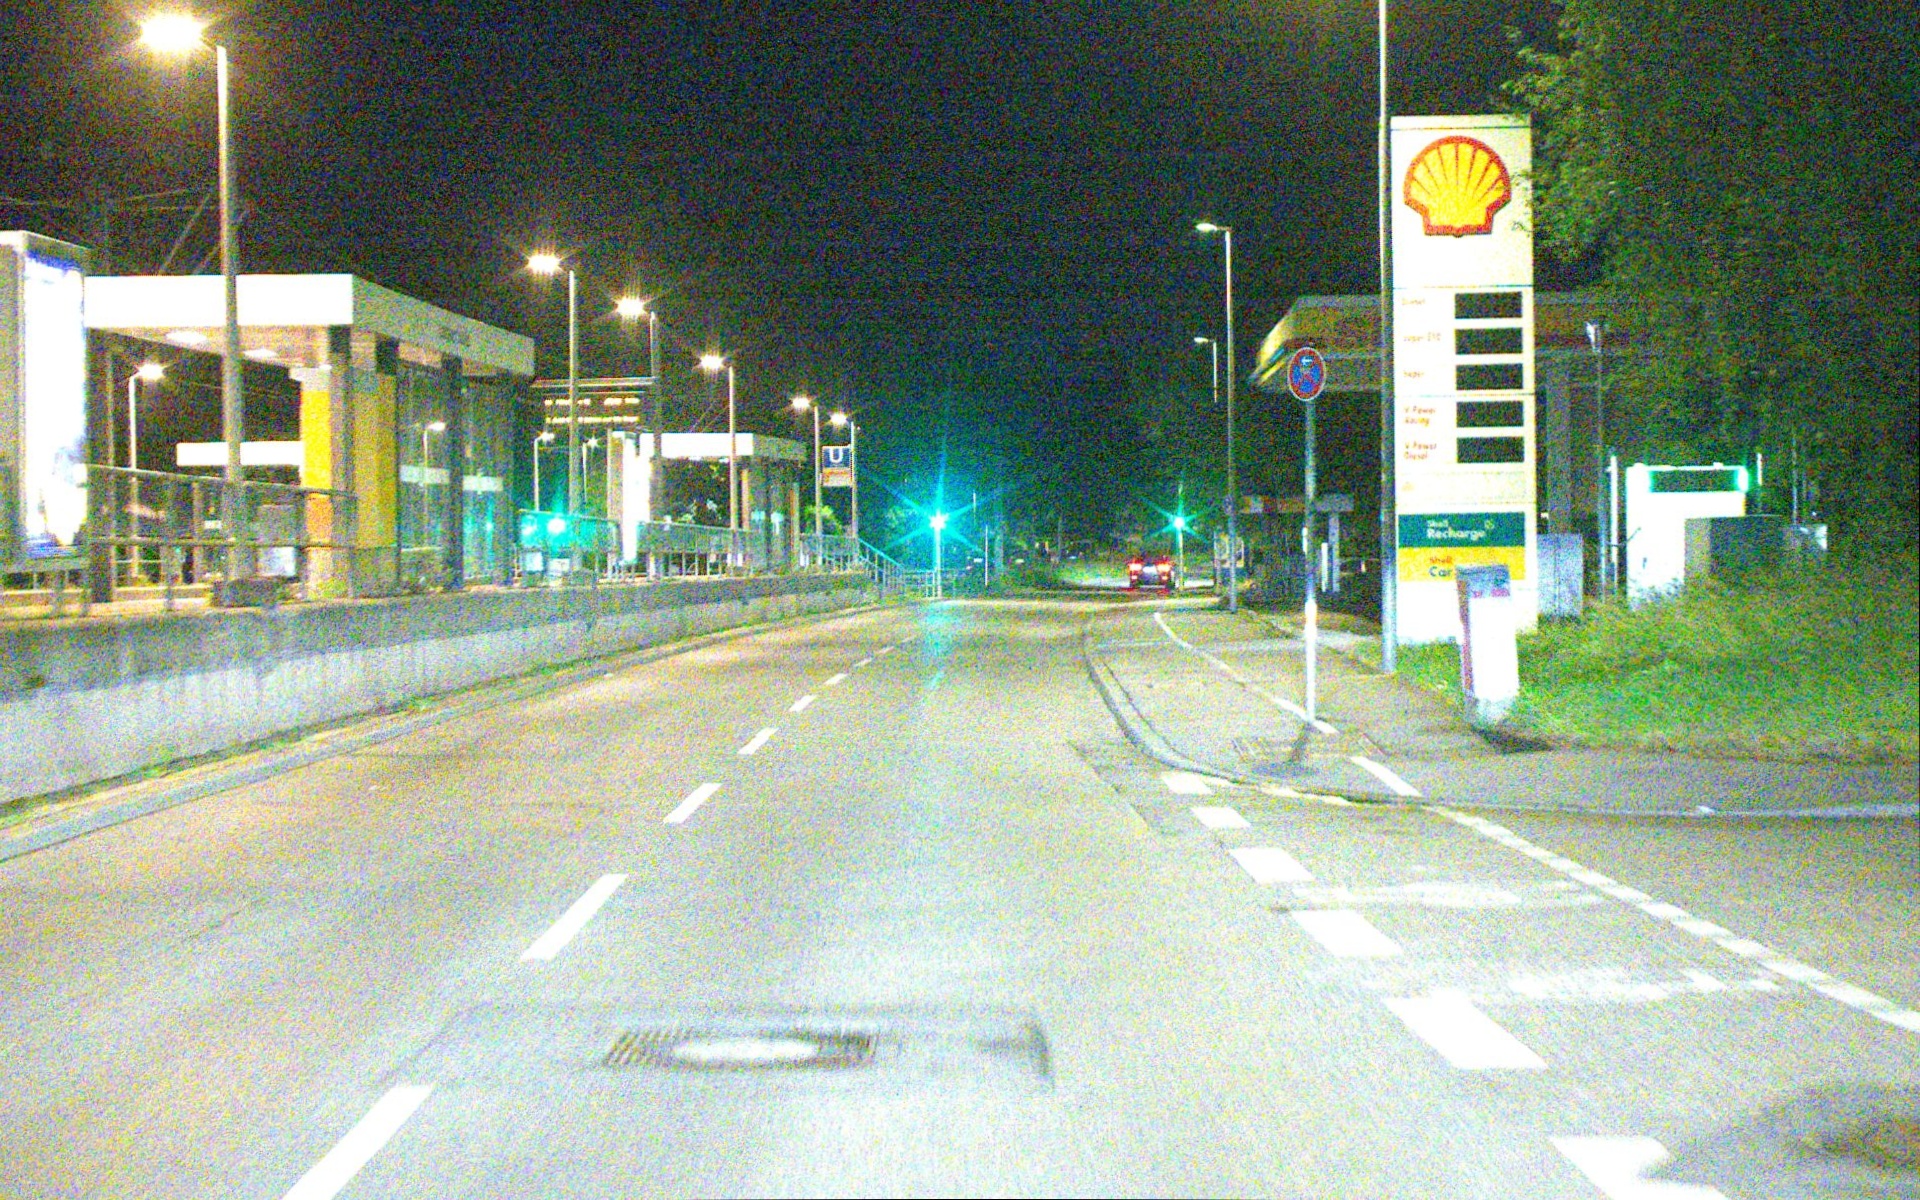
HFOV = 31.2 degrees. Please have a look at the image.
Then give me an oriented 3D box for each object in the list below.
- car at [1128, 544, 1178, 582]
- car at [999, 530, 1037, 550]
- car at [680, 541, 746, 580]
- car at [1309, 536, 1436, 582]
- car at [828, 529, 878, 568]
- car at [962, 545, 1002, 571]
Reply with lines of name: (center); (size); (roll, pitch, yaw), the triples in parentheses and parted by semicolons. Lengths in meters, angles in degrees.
car: (8.484, -1.637, 151.114); (2.162, 1.577, 4.013); (-1, 1, 3)
car: (3.983, -4.112, 234.548); (1.994, 1.333, 5.431); (0, 1, 7)
car: (-9.596, -1.548, 134.033); (1.646, 1.335, 4.542); (-4, 1, 7)
car: (12.432, -1.230, 103.715); (3.765, 1.349, 1.858); (0, 1, 6)
car: (-5.172, -2.502, 167.219); (1.857, 1.897, 4.879); (0, 1, 5)
car: (1.385, -2.634, 215.060); (1.994, 1.622, 4.676); (0, 1, 7)
